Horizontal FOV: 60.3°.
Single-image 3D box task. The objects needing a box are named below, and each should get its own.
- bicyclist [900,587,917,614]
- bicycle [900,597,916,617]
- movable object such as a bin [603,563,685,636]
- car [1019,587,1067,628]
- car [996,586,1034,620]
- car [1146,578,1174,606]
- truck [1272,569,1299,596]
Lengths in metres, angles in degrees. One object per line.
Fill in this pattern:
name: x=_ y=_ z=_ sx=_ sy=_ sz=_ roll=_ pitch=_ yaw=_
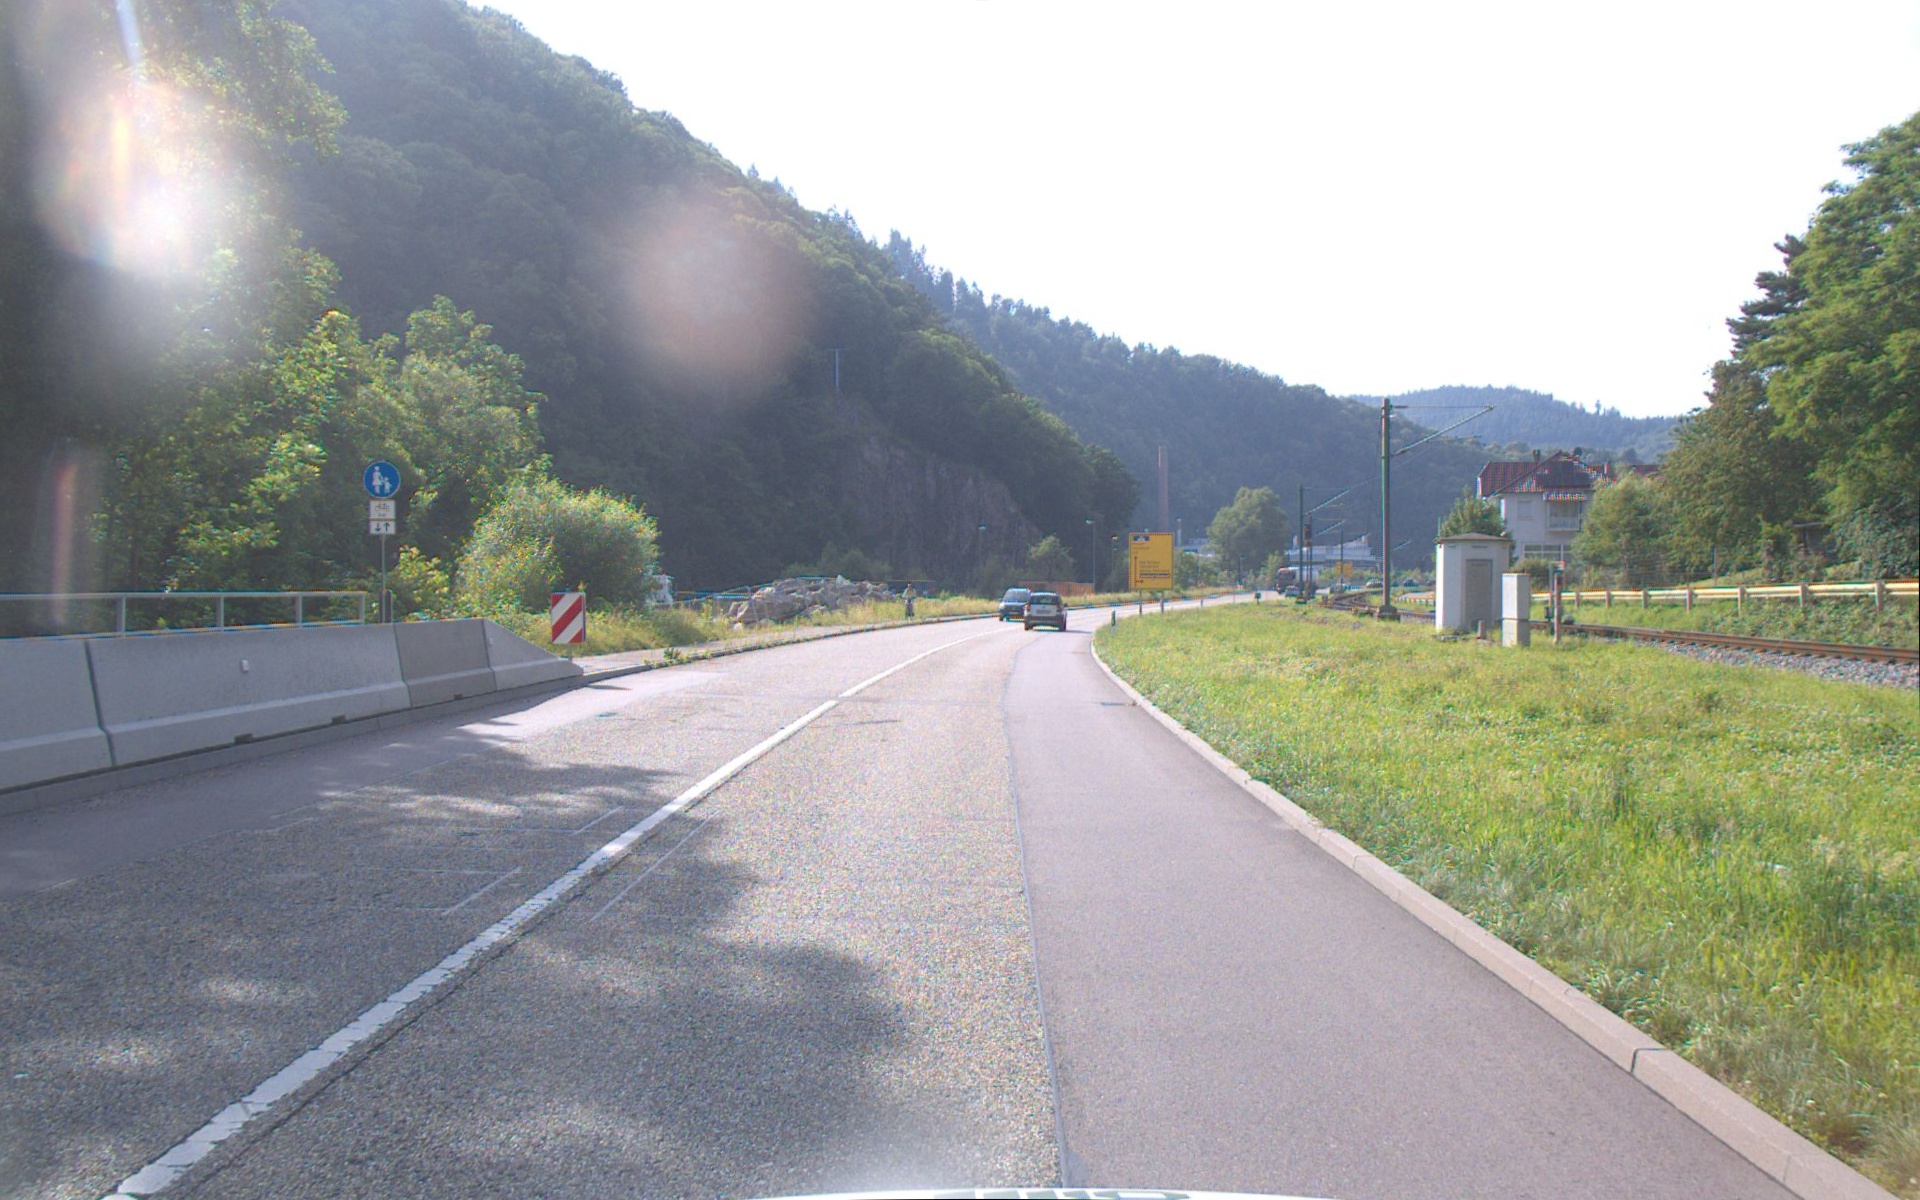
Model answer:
bicyclist: x=-2.473 y=0.029 z=79.402 sx=0.669 sy=1.246 sz=0.858 roll=1 pitch=0 yaw=4
bicycle: x=-2.481 y=0.336 z=79.325 sx=0.528 sy=0.896 sz=2.254 roll=2 pitch=0 yaw=4
movable object such as a bin: x=-18.444 y=-0.009 z=97.006 sx=2.837 sy=4.016 sz=7.812 roll=-1 pitch=0 yaw=3
car: x=3.706 y=0.322 z=73.542 sx=1.951 sy=1.753 sz=3.992 roll=-1 pitch=0 yaw=5
car: x=3.126 y=0.171 z=93.074 sx=1.812 sy=1.816 sz=4.687 roll=2 pitch=0 yaw=5
car: x=14.768 y=-0.595 z=122.271 sx=1.951 sy=2.049 sz=4.003 roll=-2 pitch=0 yaw=5
truck: x=48.966 y=-2.564 z=248.797 sx=2.693 sy=3.902 sz=8.200 roll=2 pitch=1 yaw=20
